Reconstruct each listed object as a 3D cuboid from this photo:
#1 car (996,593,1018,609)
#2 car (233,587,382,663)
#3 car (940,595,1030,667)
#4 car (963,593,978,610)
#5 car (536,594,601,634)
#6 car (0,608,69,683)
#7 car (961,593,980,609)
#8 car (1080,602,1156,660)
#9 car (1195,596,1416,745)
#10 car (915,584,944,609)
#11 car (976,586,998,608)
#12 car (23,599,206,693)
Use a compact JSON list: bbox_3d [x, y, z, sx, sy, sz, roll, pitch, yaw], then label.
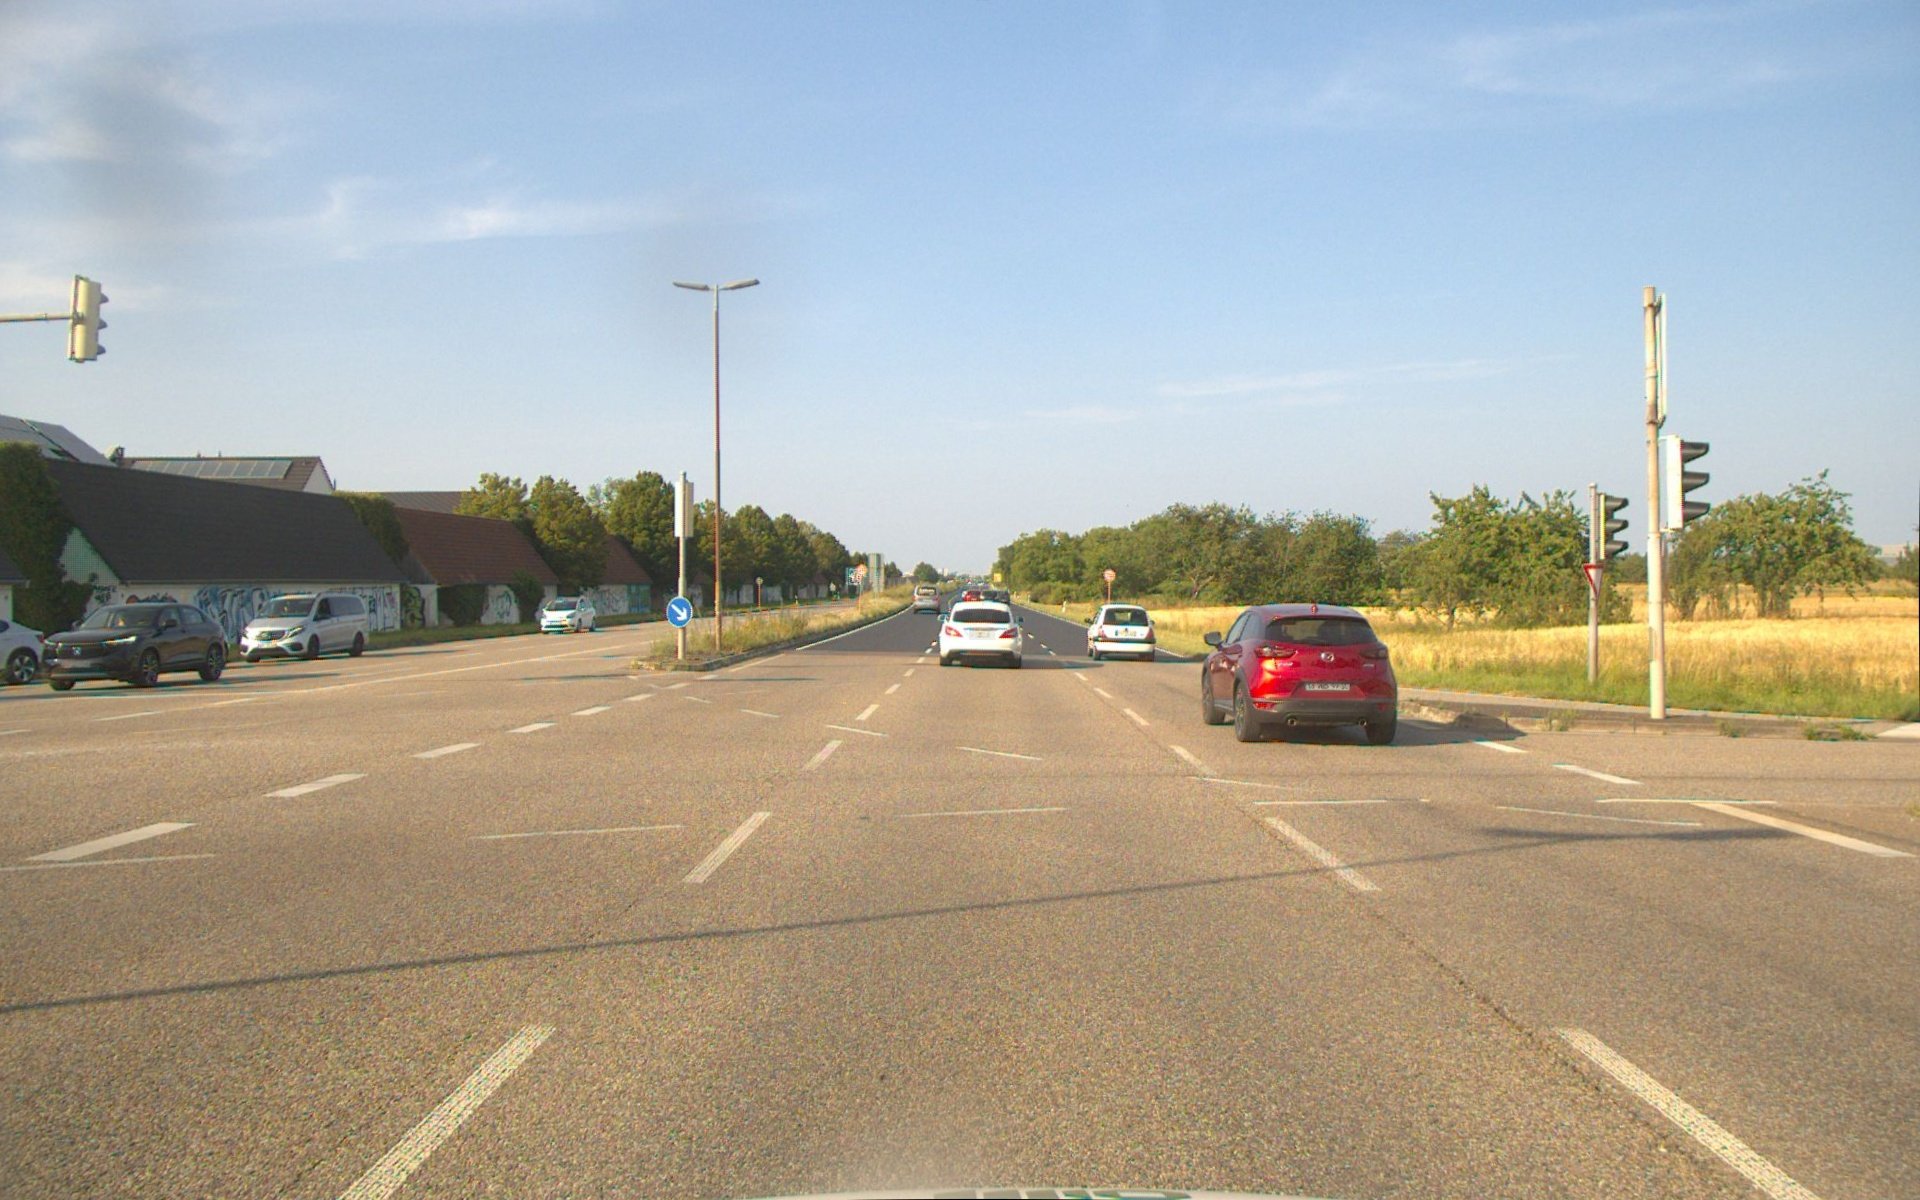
[{"bbox_3d":[4.755,0.094,168.198,1.953,1.613,4.282,1,0,-2],"label":"car"},{"bbox_3d":[-18.769,0.694,47.904,1.867,1.961,5.455,-3,0,2],"label":"car"},{"bbox_3d":[0.564,0.682,37.991,1.952,1.543,4.000,1,0,0],"label":"car"},{"bbox_3d":[1.320,0.233,205.015,1.801,2.049,4.000,1,0,1],"label":"car"},{"bbox_3d":[-18.439,0.647,78.107,1.799,1.736,4.758,-3,0,1],"label":"car"},{"bbox_3d":[-20.891,0.936,33.769,1.908,1.524,4.764,1,0,17],"label":"car"},{"bbox_3d":[1.003,0.064,156.674,1.775,1.461,3.858,1,0,0],"label":"car"},{"bbox_3d":[4.085,0.783,43.188,1.584,1.411,3.951,1,0,0],"label":"car"},{"bbox_3d":[3.955,0.749,19.645,1.669,1.532,4.500,1,0,0],"label":"car"},{"bbox_3d":[-2.044,-0.201,113.144,1.722,1.646,4.001,1,0,2],"label":"car"},{"bbox_3d":[2.195,-0.211,135.657,1.790,1.758,4.000,1,0,0],"label":"car"},{"bbox_3d":[-15.710,0.820,30.971,1.700,1.568,4.238,-2,0,-8],"label":"car"}]
